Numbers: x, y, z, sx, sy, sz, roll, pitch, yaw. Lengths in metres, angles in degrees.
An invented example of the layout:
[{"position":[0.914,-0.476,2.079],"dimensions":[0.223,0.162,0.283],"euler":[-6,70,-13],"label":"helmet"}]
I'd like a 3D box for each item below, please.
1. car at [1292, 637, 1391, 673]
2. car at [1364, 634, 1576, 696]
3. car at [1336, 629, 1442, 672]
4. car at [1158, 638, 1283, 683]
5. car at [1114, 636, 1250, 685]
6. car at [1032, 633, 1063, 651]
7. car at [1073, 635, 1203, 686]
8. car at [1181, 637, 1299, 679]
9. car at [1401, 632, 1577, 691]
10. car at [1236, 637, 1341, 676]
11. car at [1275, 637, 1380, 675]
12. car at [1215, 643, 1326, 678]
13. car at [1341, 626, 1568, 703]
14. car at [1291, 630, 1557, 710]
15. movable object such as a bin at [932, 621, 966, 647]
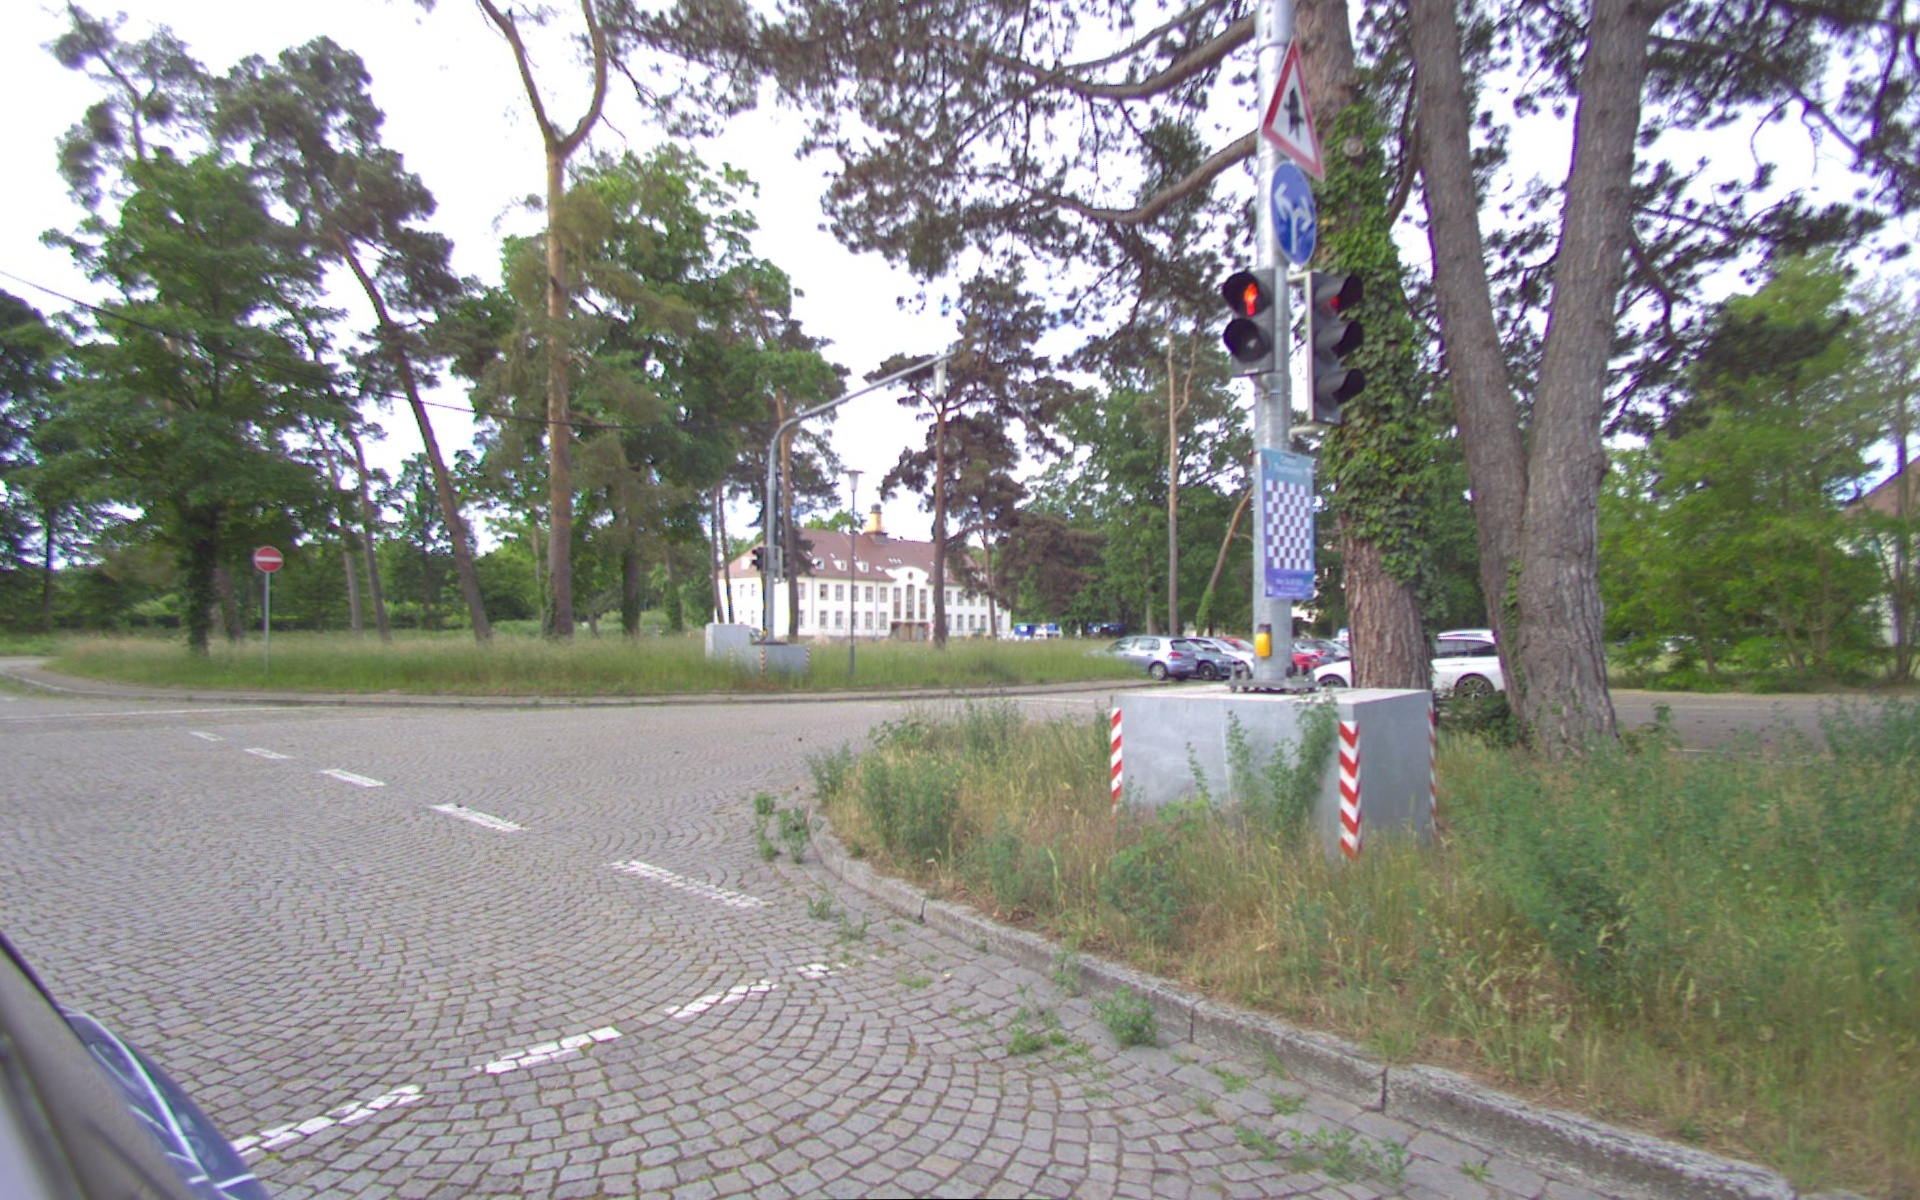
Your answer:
[{"position":[17.940,2.577,47.714],"dimensions":[1.577,1.528,4.056],"euler":[3,-2,-45],"label":"car"},{"position":[12.750,1.662,25.467],"dimensions":[4.446,1.435,1.699],"euler":[-5,-5,40],"label":"car"},{"position":[21.761,2.517,51.459],"dimensions":[4.608,2.021,1.884],"euler":[0,-2,45],"label":"car"},{"position":[9.678,2.207,37.797],"dimensions":[4.253,1.485,1.692],"euler":[0,-2,45],"label":"car"},{"position":[7.798,2.096,35.852],"dimensions":[4.441,1.394,1.641],"euler":[2,-1,41],"label":"car"},{"position":[11.781,5.643,136.355],"dimensions":[1.863,2.382,4.385],"euler":[-3,-3,42],"label":"car"},{"position":[5.949,1.993,34.036],"dimensions":[4.012,1.439,1.675],"euler":[2,-1,41],"label":"car"},{"position":[11.009,2.248,39.893],"dimensions":[4.187,1.493,1.693],"euler":[0,-2,43],"label":"car"},{"position":[14.360,1.690,27.570],"dimensions":[3.958,1.482,1.564],"euler":[-5,-5,39],"label":"car"},{"position":[14.100,2.398,43.551],"dimensions":[1.577,1.528,4.056],"euler":[3,-2,-45],"label":"car"},{"position":[16.376,2.475,45.238],"dimensions":[1.675,1.528,4.103],"euler":[3,-2,-45],"label":"car"},{"position":[12.636,2.448,41.317],"dimensions":[4.054,1.250,1.527],"euler":[0,-2,43],"label":"car"},{"position":[11.300,1.487,23.266],"dimensions":[4.369,1.610,1.849],"euler":[-3,-4,37],"label":"car"},{"position":[9.675,1.484,21.339],"dimensions":[4.751,1.499,1.841],"euler":[-4,-5,40],"label":"car"},{"position":[-1.672,5.129,151.799],"dimensions":[2.022,3.799,5.468],"euler":[2,-3,-44],"label":"movable object such as a bin"}]
